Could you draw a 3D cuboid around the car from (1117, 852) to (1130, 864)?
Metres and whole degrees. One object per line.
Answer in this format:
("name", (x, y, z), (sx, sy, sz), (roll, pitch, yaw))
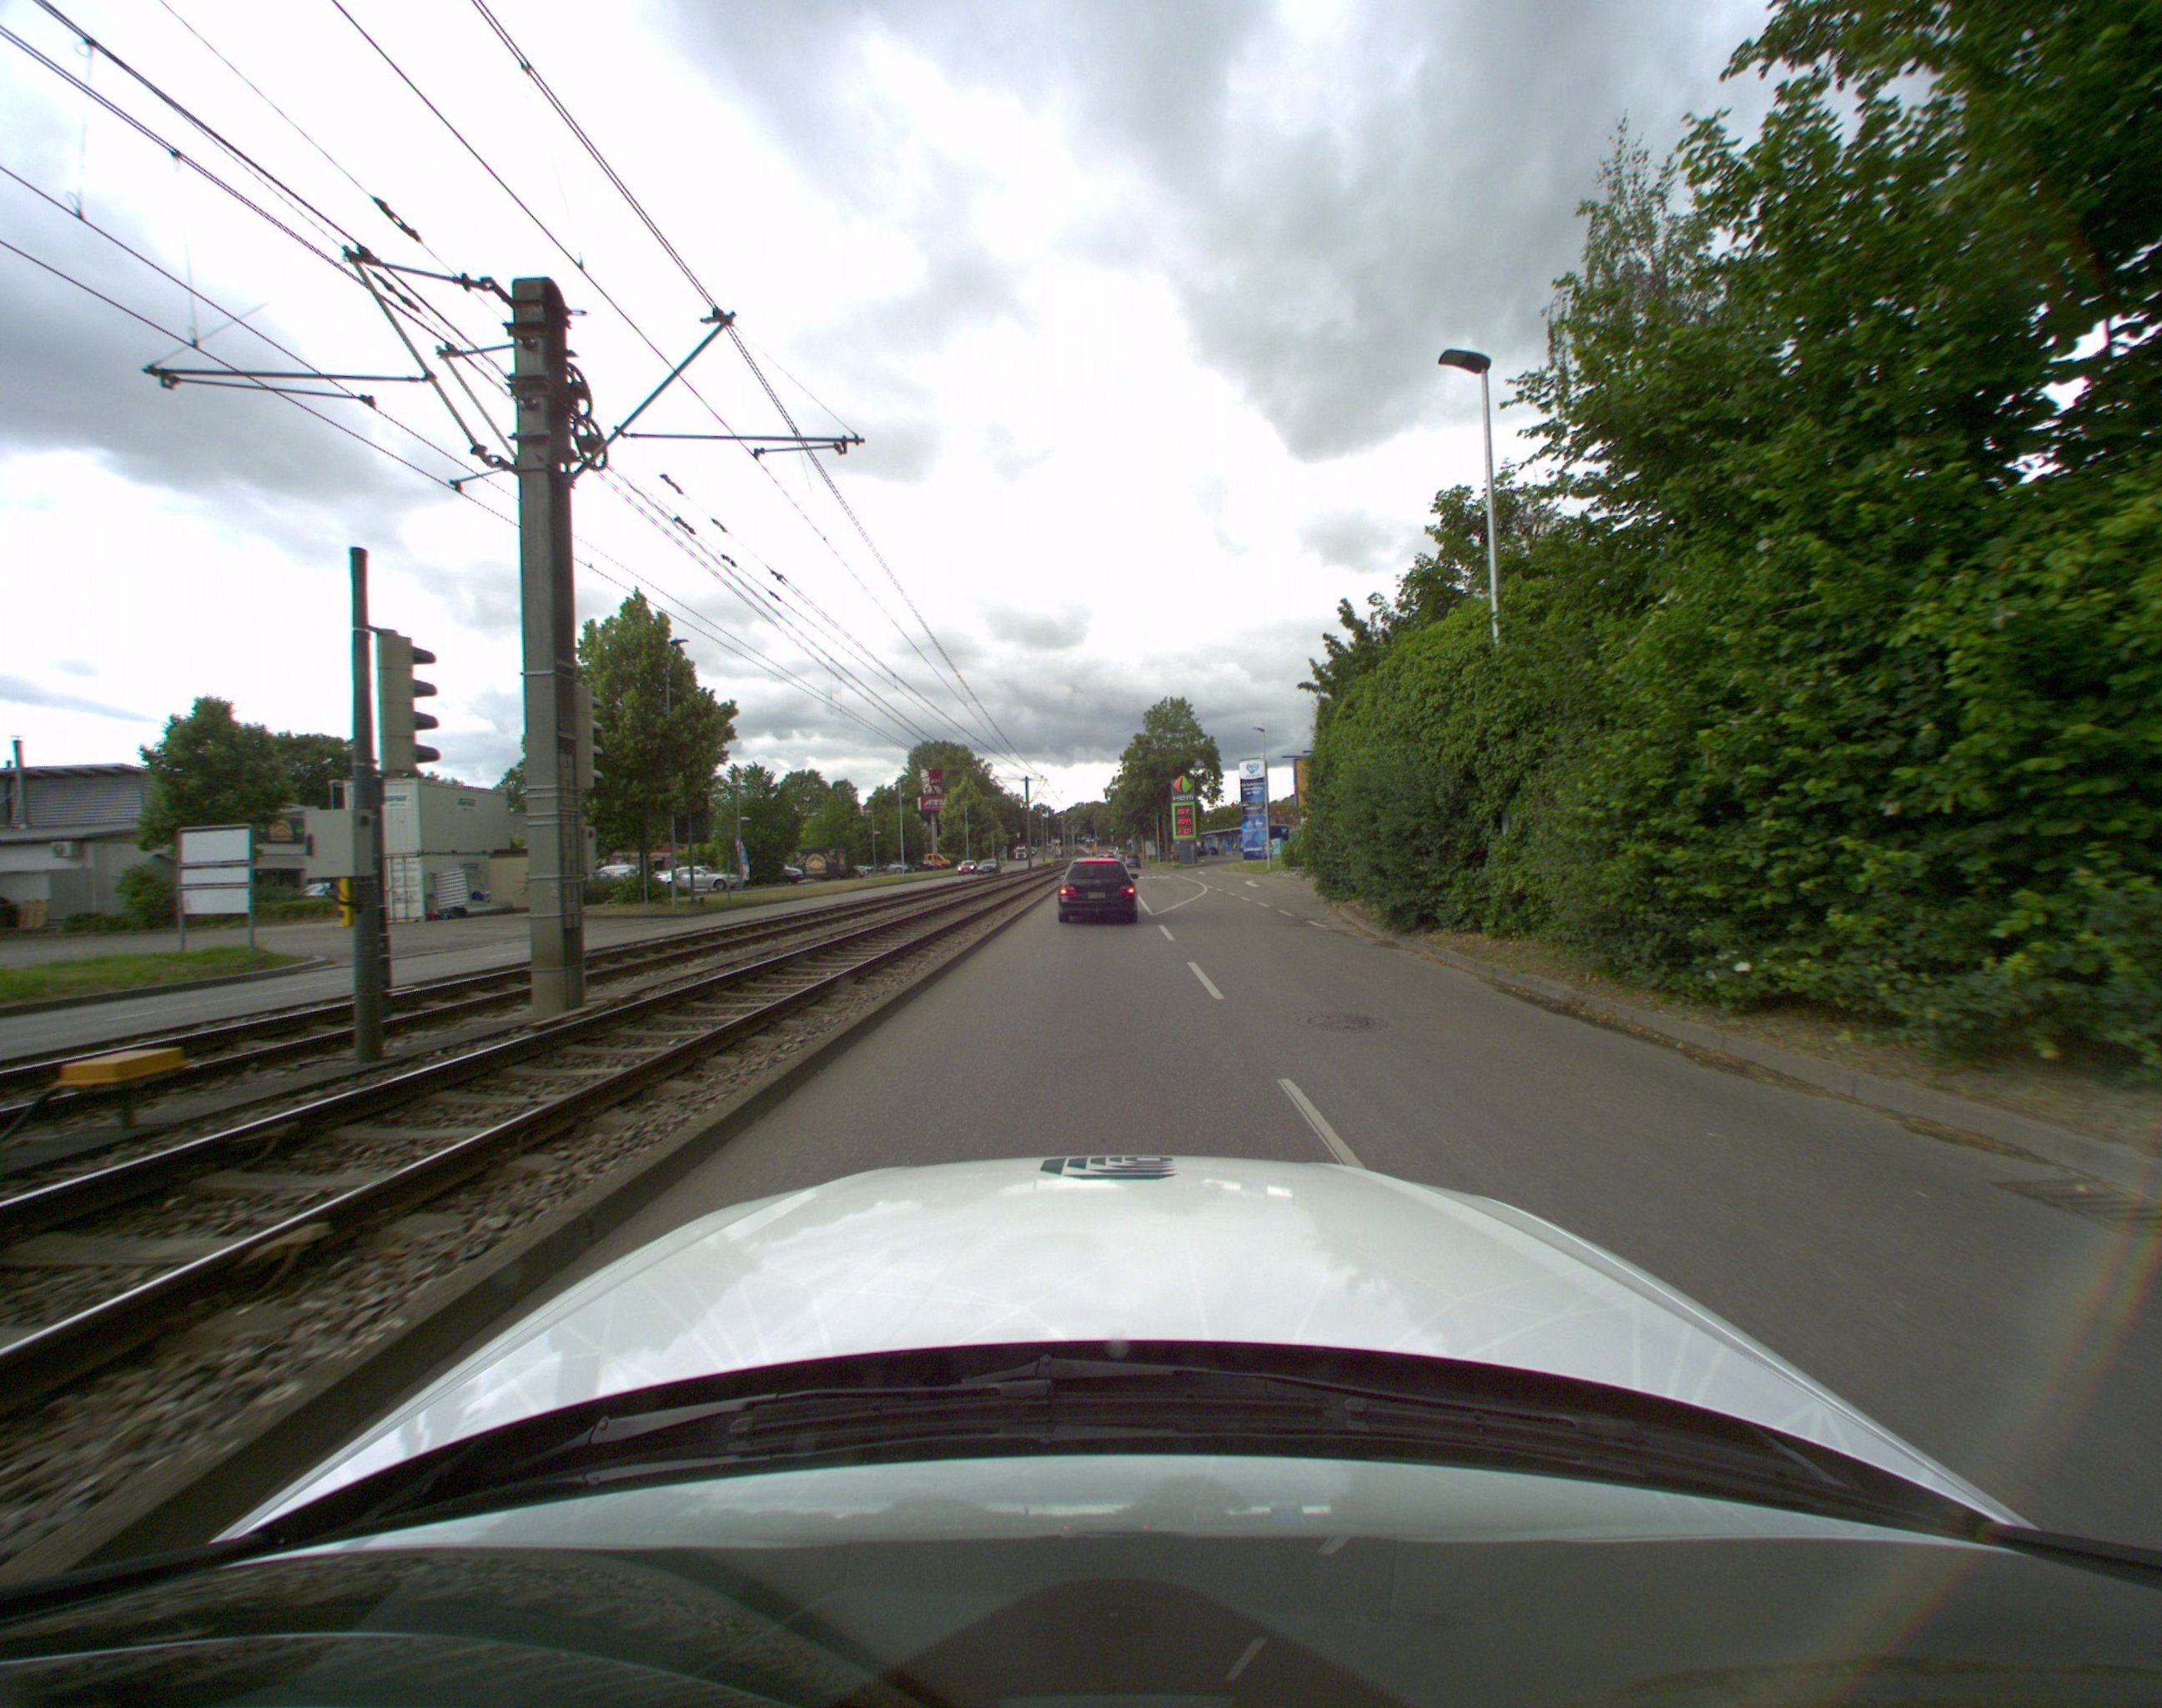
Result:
("car", (4.977, 0.467, 96.280), (1.460, 1.414, 3.355), (0, -1, 1))

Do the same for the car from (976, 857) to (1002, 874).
("car", (-8.498, 1.046, 75.434), (1.753, 1.401, 4.444), (-5, 0, 1))

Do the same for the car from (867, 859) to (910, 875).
("car", (-21.098, 1.424, 89.482), (4.294, 1.472, 1.680), (-2, 0, -1))

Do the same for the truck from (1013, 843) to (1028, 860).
("truck", (-14.447, -0.595, 195.004), (2.699, 3.663, 11.106), (-3, 0, -1))

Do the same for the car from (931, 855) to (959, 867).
("car", (-20.676, 1.102, 123.632), (3.978, 1.599, 1.794), (-3, 0, -3))

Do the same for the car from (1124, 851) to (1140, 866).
("car", (5.083, 0.445, 81.421), (1.565, 1.414, 3.355), (0, -1, 1))

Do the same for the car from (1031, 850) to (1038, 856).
("car", (-14.467, -0.256, 253.576), (1.758, 1.647, 3.772), (-1, 0, 2))

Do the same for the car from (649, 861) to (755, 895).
("car", (-21.728, 1.334, 46.887), (4.763, 1.628, 2.653), (-3, 1, 2))

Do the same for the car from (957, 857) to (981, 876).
("car", (-11.294, 1.223, 82.548), (1.786, 1.772, 3.999), (-2, 0, 0))

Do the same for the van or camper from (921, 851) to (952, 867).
("van or camper", (-20.383, 0.737, 115.034), (3.978, 2.135, 1.876), (-1, 0, -3))

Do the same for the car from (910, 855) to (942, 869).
("car", (-20.922, 1.094, 109.946), (3.978, 1.797, 1.876), (-1, 0, -3))

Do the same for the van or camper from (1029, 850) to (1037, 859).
("van or camper", (-13.470, 0.125, 229.705), (1.987, 2.354, 5.764), (-3, 0, 0))

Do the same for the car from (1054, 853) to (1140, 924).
("car", (0.407, 0.734, 19.288), (1.802, 1.474, 3.882), (-1, 0, 2))

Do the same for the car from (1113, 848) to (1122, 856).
("car", (8.747, -0.481, 196.191), (1.986, 1.714, 4.001), (-3, 0, 1))

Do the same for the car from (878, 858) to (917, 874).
("car", (-20.824, 1.345, 92.706), (3.978, 1.635, 1.876), (-3, 0, -3))

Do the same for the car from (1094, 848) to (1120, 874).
("car", (1.795, 0.466, 56.699), (1.774, 1.750, 3.719), (0, -1, 1))

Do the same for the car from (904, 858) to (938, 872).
("car", (-20.563, 1.411, 104.722), (3.978, 1.599, 1.876), (-3, 0, -3))

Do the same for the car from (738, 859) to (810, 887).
("car", (-21.312, 1.303, 56.643), (4.208, 1.727, 1.995), (-3, 0, -1))

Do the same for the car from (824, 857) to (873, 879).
("car", (-21.439, 1.273, 75.142), (3.978, 1.797, 1.876), (-3, 0, -3))

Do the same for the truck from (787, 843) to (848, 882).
("truck", (-21.204, 0.671, 65.610), (3.976, 2.821, 2.375), (-3, 0, -1))

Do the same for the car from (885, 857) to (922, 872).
("car", (-21.193, 1.230, 97.404), (3.978, 1.599, 1.876), (-3, 0, -3))

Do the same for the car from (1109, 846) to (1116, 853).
("car", (8.342, -1.104, 216.291), (1.986, 1.838, 4.001), (-1, 0, 1))

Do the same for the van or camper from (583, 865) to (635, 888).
("van or camper", (-49.216, 2.336, 85.026), (4.252, 2.145, 1.819), (-3, 0, -4))
